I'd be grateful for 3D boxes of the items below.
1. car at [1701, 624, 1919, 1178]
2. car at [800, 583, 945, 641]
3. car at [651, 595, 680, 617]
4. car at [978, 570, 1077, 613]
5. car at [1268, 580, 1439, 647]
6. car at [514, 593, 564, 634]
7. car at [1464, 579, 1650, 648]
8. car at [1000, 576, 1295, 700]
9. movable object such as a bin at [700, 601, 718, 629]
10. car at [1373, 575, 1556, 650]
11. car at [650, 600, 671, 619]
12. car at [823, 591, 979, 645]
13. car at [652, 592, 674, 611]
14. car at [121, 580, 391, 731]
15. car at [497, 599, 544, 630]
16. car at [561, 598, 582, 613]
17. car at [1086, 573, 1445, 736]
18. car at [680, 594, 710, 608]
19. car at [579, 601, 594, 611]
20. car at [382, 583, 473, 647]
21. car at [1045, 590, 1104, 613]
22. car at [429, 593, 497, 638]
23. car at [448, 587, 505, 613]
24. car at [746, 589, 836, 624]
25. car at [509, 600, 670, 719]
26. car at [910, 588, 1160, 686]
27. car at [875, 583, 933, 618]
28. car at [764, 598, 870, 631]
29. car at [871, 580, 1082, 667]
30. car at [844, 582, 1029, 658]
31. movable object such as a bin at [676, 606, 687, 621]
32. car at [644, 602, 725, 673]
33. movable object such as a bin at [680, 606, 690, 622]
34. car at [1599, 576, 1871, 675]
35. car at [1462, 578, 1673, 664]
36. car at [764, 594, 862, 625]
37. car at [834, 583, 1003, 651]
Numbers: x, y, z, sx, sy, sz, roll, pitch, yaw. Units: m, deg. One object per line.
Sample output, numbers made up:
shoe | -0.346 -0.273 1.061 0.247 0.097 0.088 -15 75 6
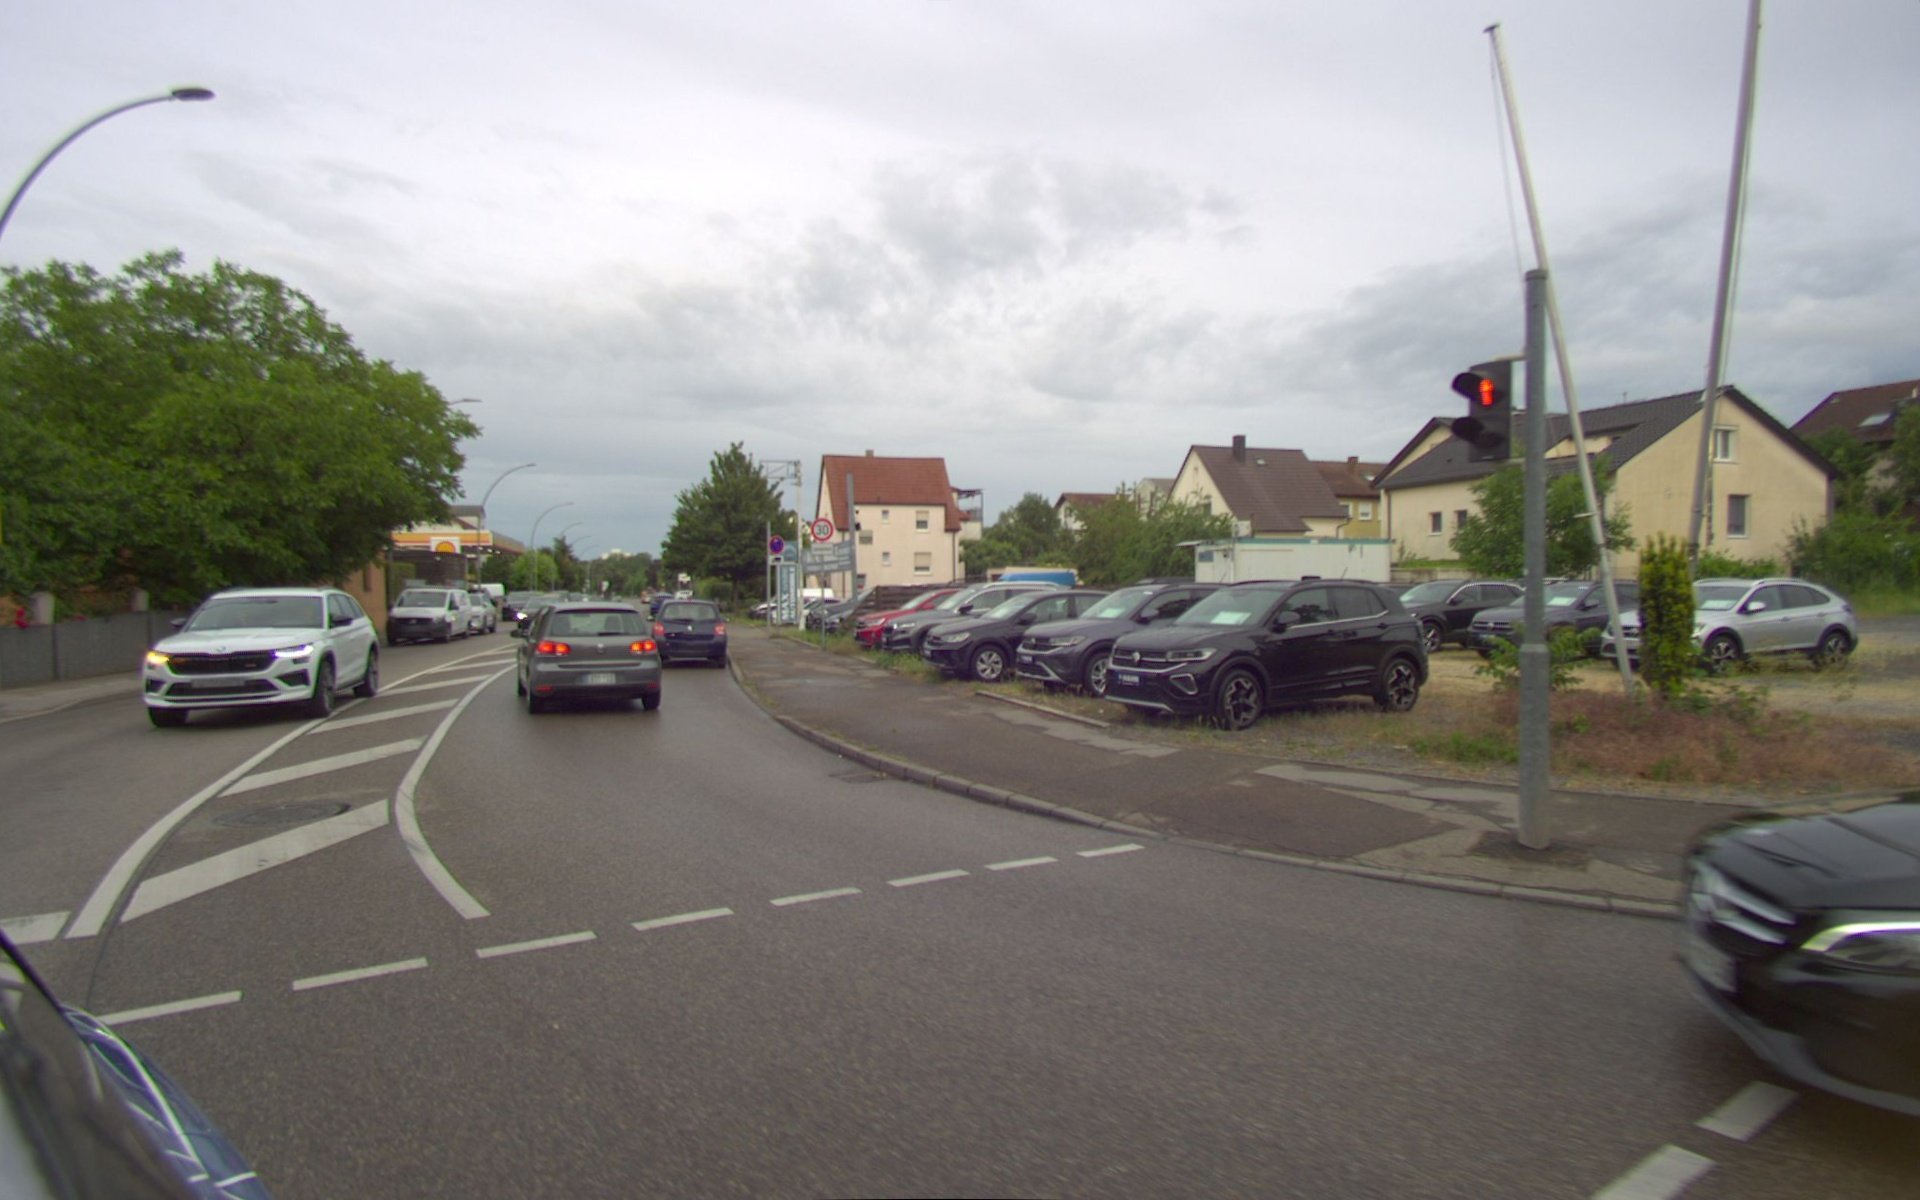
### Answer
car | 4.670 0.762 2.425 4.318 1.402 1.700 -1 -2 21
car | -2.857 0.361 32.690 4.287 1.704 2.065 -1 0 -16
car | -19.574 0.369 67.206 1.781 1.413 3.957 1 0 -17
car | 4.125 -0.528 61.664 5.591 2.392 2.053 -2 1 -17
car | 9.592 0.323 24.760 3.583 1.439 1.596 -2 0 -15
car | -17.533 0.553 42.227 1.748 1.573 4.013 -2 0 -21
car | 15.334 0.331 26.039 3.933 1.563 1.758 -2 0 -13
car | 2.747 0.513 15.021 3.892 1.542 1.696 -2 0 -17
movable object such as a bin | -10.751 0.633 43.318 0.698 1.138 0.737 -2 1 -17
car | 11.044 0.255 22.165 3.581 1.439 1.597 -2 0 -23
car | -25.022 0.780 84.428 1.586 1.517 3.718 1 0 -17
car | -1.780 0.512 30.110 4.287 1.442 1.965 -1 0 -16
car | -22.818 0.077 77.716 1.524 1.413 3.608 1 0 -17
car | -9.271 0.624 13.816 1.853 1.673 4.846 0 0 -20
car | -26.491 0.863 61.125 2.062 1.674 4.572 -2 0 -17
car | -43.257 0.637 112.747 1.966 1.608 4.013 0 0 -19
car | 3.568 0.536 11.728 3.891 1.542 1.627 -2 0 -27
car | -39.095 0.151 149.182 3.932 1.659 2.006 -5 1 -19
car | -54.095 0.855 146.628 1.727 1.429 4.123 0 0 -18
car | -18.657 0.507 35.668 1.753 2.044 4.767 -2 0 -15
car | 6.771 0.085 59.878 3.177 1.343 1.342 -1 0 -19
car | -20.321 0.597 41.540 1.840 1.678 4.333 -2 1 -18
car | -48.780 -0.048 102.095 4.728 2.539 2.252 -1 0 -39
car | -9.136 0.320 54.735 4.493 1.803 1.904 -1 0 -21
car | -5.505 0.827 14.750 1.699 1.467 4.012 0 -3 -28
car | 1.270 0.599 17.704 3.933 1.452 1.809 -2 0 -15
car | -3.248 0.027 57.649 1.965 1.945 5.070 0 0 -20
car | -6.374 0.631 45.009 4.389 1.342 1.777 -1 0 -17
car | 0.303 0.444 20.734 3.933 1.555 1.809 -2 0 -15
car | -0.583 0.430 23.619 3.933 1.555 1.809 -2 0 -15
movable object such as a bin | -17.246 0.836 62.680 0.532 0.917 0.507 -4 1 -18
car | -6.248 0.777 22.875 1.604 1.444 3.694 -1 0 -16
movable object such as a bin | -16.906 0.846 62.236 0.532 0.917 0.426 -4 1 -18
car | 12.548 0.429 16.432 3.709 1.475 1.595 1 -1 -16
car | 11.395 0.359 18.994 3.581 1.385 1.523 -2 0 -23
car | -6.941 0.427 47.687 4.315 1.384 1.895 -1 0 -17
car | -1.173 0.431 27.927 4.287 1.703 1.965 -1 0 -16
